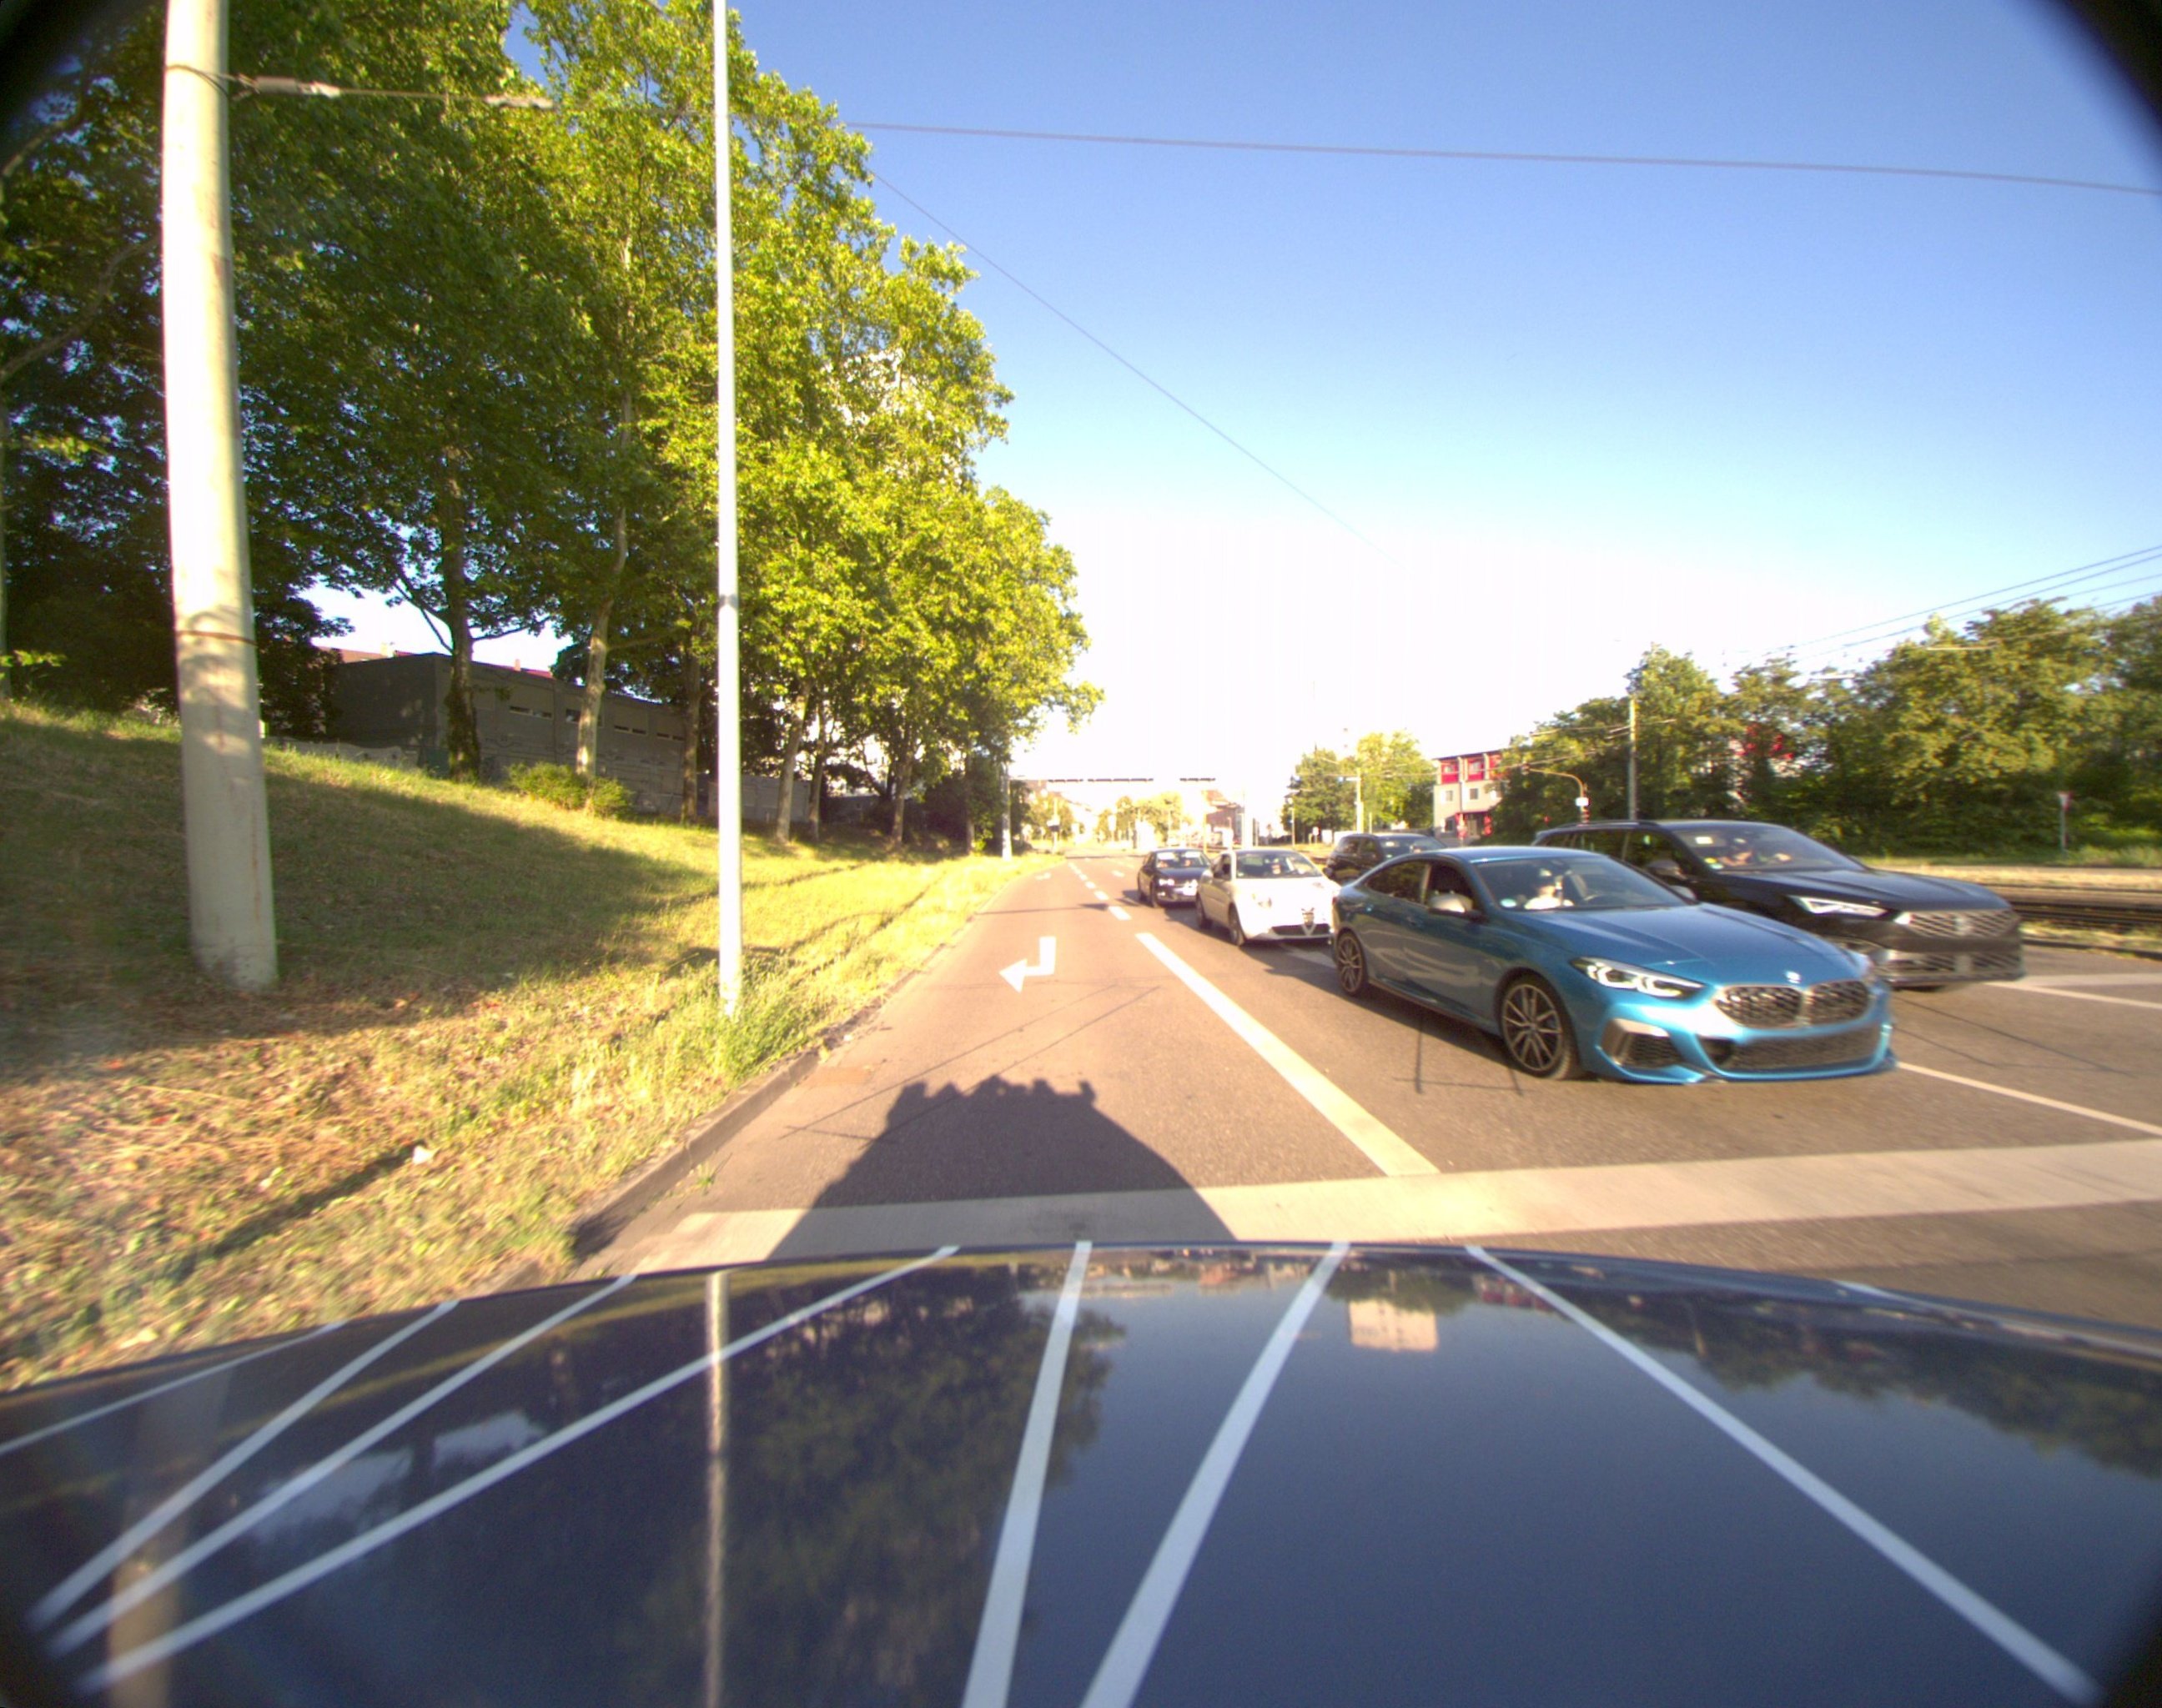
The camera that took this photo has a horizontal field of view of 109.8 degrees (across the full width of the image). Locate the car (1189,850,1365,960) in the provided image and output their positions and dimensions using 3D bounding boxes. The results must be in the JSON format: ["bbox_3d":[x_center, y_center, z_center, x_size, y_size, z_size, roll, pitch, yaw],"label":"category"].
[{"bbox_3d":[2.995,0.691,12.473,1.665,1.422,3.922,-2,1,-3],"label":"car"}]

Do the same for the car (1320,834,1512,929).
[{"bbox_3d":[6.640,0.445,15.709,1.920,1.639,4.600,-2,1,0],"label":"car"}]

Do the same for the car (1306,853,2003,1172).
[{"bbox_3d":[3.484,0.755,5.929,1.789,1.409,4.510,-2,1,-5],"label":"car"}]

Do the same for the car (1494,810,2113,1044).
[{"bbox_3d":[6.615,0.497,7.916,1.921,1.672,4.599,-2,1,-3],"label":"car"}]

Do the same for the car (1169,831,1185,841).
[{"bbox_3d":[20.841,-3.938,165.661,1.995,2.002,4.006,-1,2,30],"label":"car"}]

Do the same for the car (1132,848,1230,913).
[{"bbox_3d":[2.439,0.598,19.466,1.782,1.422,3.922,-2,1,-3],"label":"car"}]
